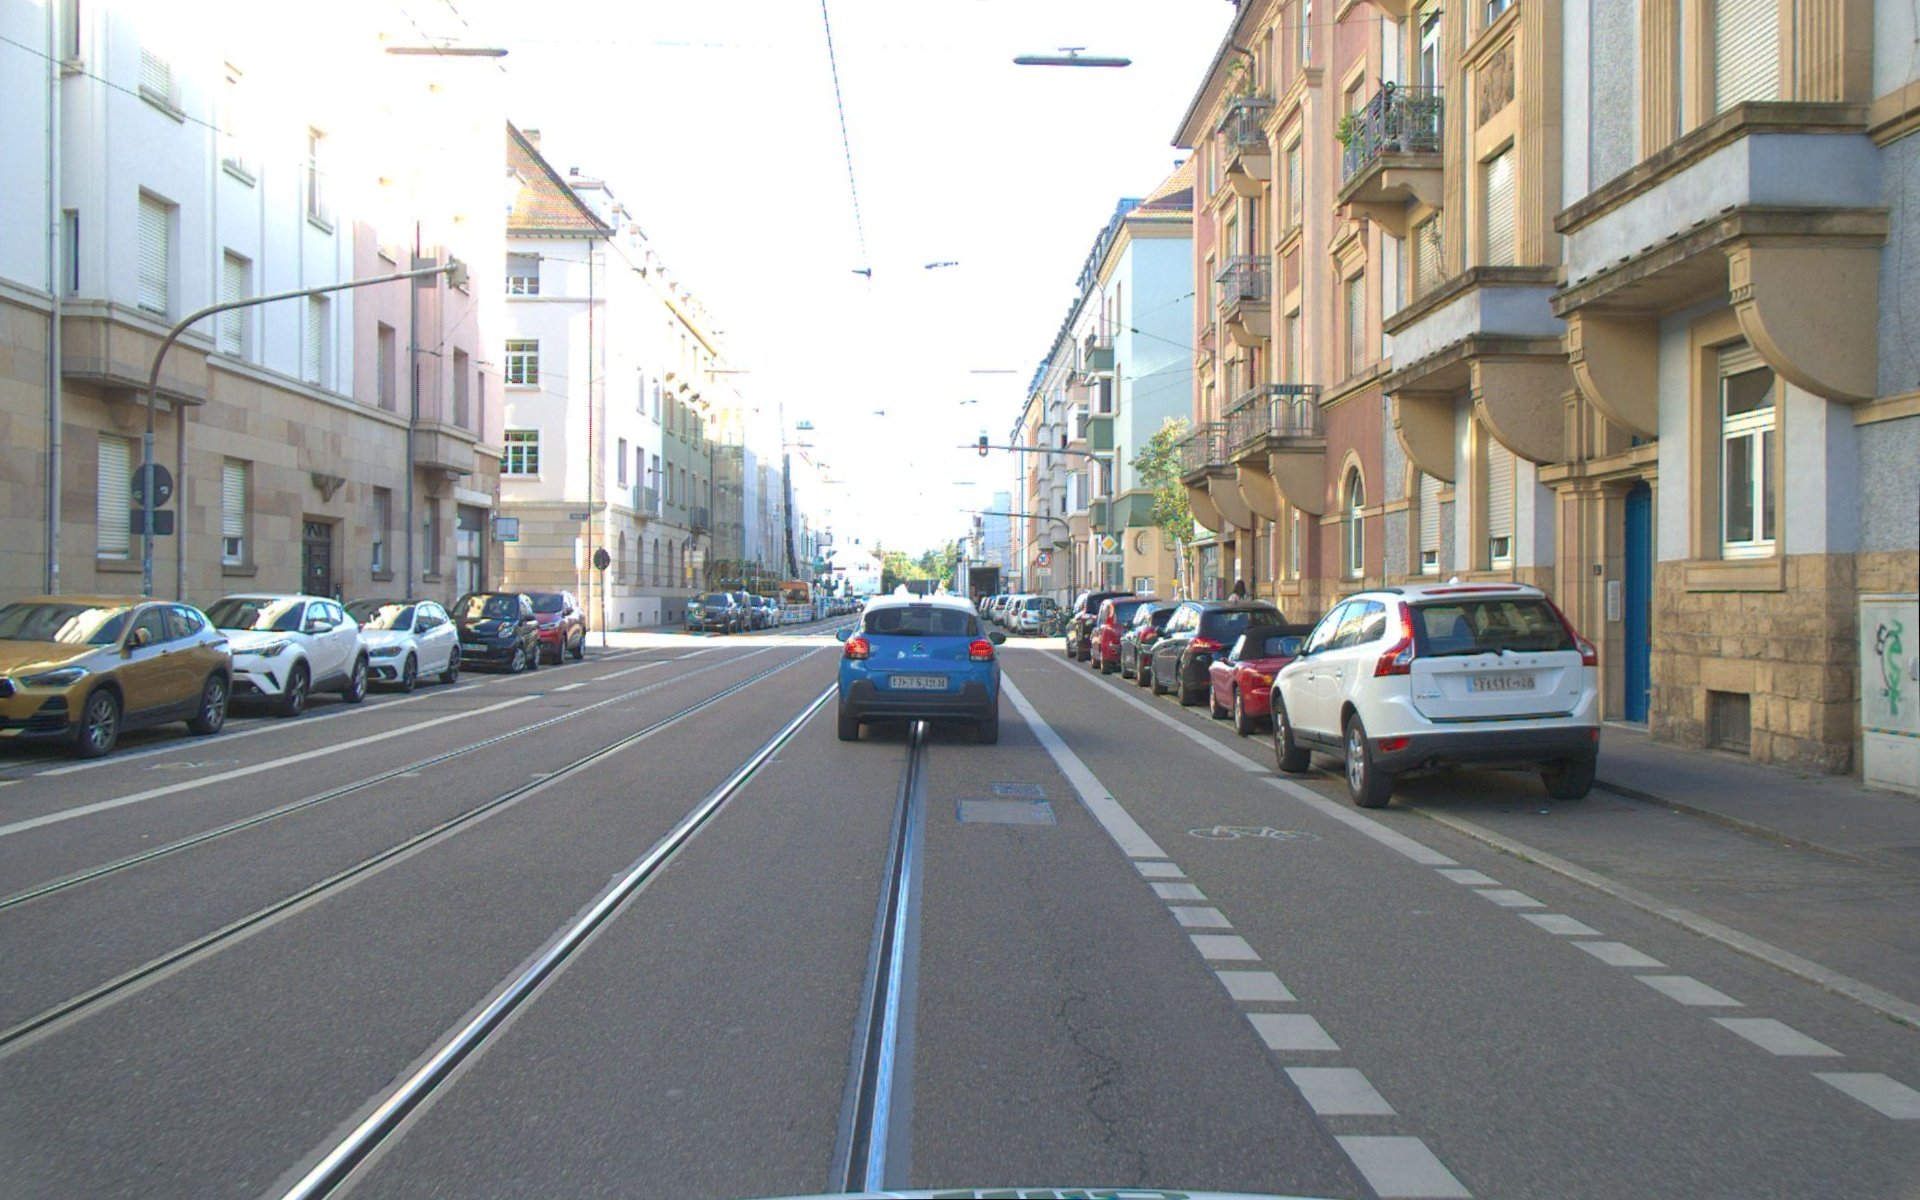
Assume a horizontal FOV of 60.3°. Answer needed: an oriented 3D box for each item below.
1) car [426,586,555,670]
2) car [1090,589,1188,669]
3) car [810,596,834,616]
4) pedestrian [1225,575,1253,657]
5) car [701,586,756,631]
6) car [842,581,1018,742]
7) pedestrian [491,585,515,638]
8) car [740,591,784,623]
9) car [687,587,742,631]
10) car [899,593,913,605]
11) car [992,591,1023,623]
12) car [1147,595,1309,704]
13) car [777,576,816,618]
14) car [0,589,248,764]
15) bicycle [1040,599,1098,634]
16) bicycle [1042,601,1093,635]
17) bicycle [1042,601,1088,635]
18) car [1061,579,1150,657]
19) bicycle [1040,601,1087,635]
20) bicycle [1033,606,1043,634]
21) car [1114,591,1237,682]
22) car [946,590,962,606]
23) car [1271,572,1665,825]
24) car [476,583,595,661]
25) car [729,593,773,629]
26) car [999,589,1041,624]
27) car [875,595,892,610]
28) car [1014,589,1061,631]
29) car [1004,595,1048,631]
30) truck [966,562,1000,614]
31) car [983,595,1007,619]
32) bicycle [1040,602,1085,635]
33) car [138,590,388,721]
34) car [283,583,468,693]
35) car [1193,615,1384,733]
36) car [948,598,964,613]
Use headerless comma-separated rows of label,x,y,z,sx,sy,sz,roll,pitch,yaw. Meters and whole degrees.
car,-9.524,0.539,33.770,1.747,1.580,3.019,2,0,-1
car,3.770,0.585,35.309,1.717,1.622,3.729,0,0,0
car,-11.343,0.473,136.367,1.679,1.622,4.266,0,0,-1
pedestrian,5.896,0.340,34.961,0.502,1.716,0.448,0,0,-1
car,-10.254,0.352,73.483,1.747,1.848,4.528,2,0,0
car,-0.317,0.600,18.369,1.700,1.533,3.992,2,0,-1
pedestrian,-15.330,0.385,55.468,0.594,1.742,0.731,0,0,-1
car,-10.304,0.353,86.480,1.683,1.529,4.388,2,0,1
car,-10.166,0.351,68.805,1.747,1.720,4.665,2,0,-3
car,-7.370,-0.162,226.961,1.789,1.660,4.490,0,0,-1
car,2.781,0.398,97.781,1.695,1.859,4.686,0,0,-1
car,3.984,0.682,25.284,1.621,1.509,4.472,0,0,-2
car,-10.181,-0.179,103.306,2.102,2.519,4.977,-1,0,-3
car,-9.233,0.687,17.295,1.747,1.550,4.358,2,0,-2
bicycle,4.030,0.617,61.057,2.044,1.174,0.848,-3,0,-1
bicycle,4.001,0.671,61.756,1.805,1.174,0.469,-3,0,-1
bicycle,4.000,0.688,62.994,1.688,1.174,0.469,-3,0,-1
car,3.606,0.423,41.617,1.718,1.766,4.506,-3,0,0
bicycle,3.976,0.694,63.541,1.688,1.174,0.469,-3,0,-1
bicycle,3.006,0.760,64.003,0.345,1.063,1.728,0,0,1
car,3.872,0.612,30.367,1.620,1.539,4.473,0,0,-1
car,-0.830,-0.287,231.970,2.174,2.324,4.083,0,0,-1
car,3.894,0.665,13.539,1.805,1.720,4.504,0,0,-1
car,-9.678,0.463,38.025,1.748,1.634,4.395,2,0,-3
car,-10.141,0.496,80.448,1.747,1.655,4.606,2,0,-3
car,3.069,0.322,85.779,1.622,1.782,4.598,0,0,-5
car,-8.522,0.263,185.053,1.789,1.660,4.490,0,0,-1
car,3.192,0.399,68.884,1.747,1.660,3.999,0,0,-1
car,2.935,0.564,74.479,1.747,1.603,4.325,0,0,-1
truck,1.894,-0.988,139.790,2.794,4.154,11.270,0,0,0
car,2.494,0.516,118.258,1.630,1.676,4.221,0,0,-1
bicycle,4.015,0.719,64.842,1.688,1.174,0.469,-3,0,-1
car,-9.434,0.685,22.791,1.736,1.574,4.363,2,0,-3
car,-9.679,0.585,27.744,1.748,1.650,4.177,2,0,-3
car,3.996,0.847,20.777,1.620,1.271,4.505,0,0,1
car,-0.433,0.546,173.142,1.729,1.513,4.031,0,0,-1
